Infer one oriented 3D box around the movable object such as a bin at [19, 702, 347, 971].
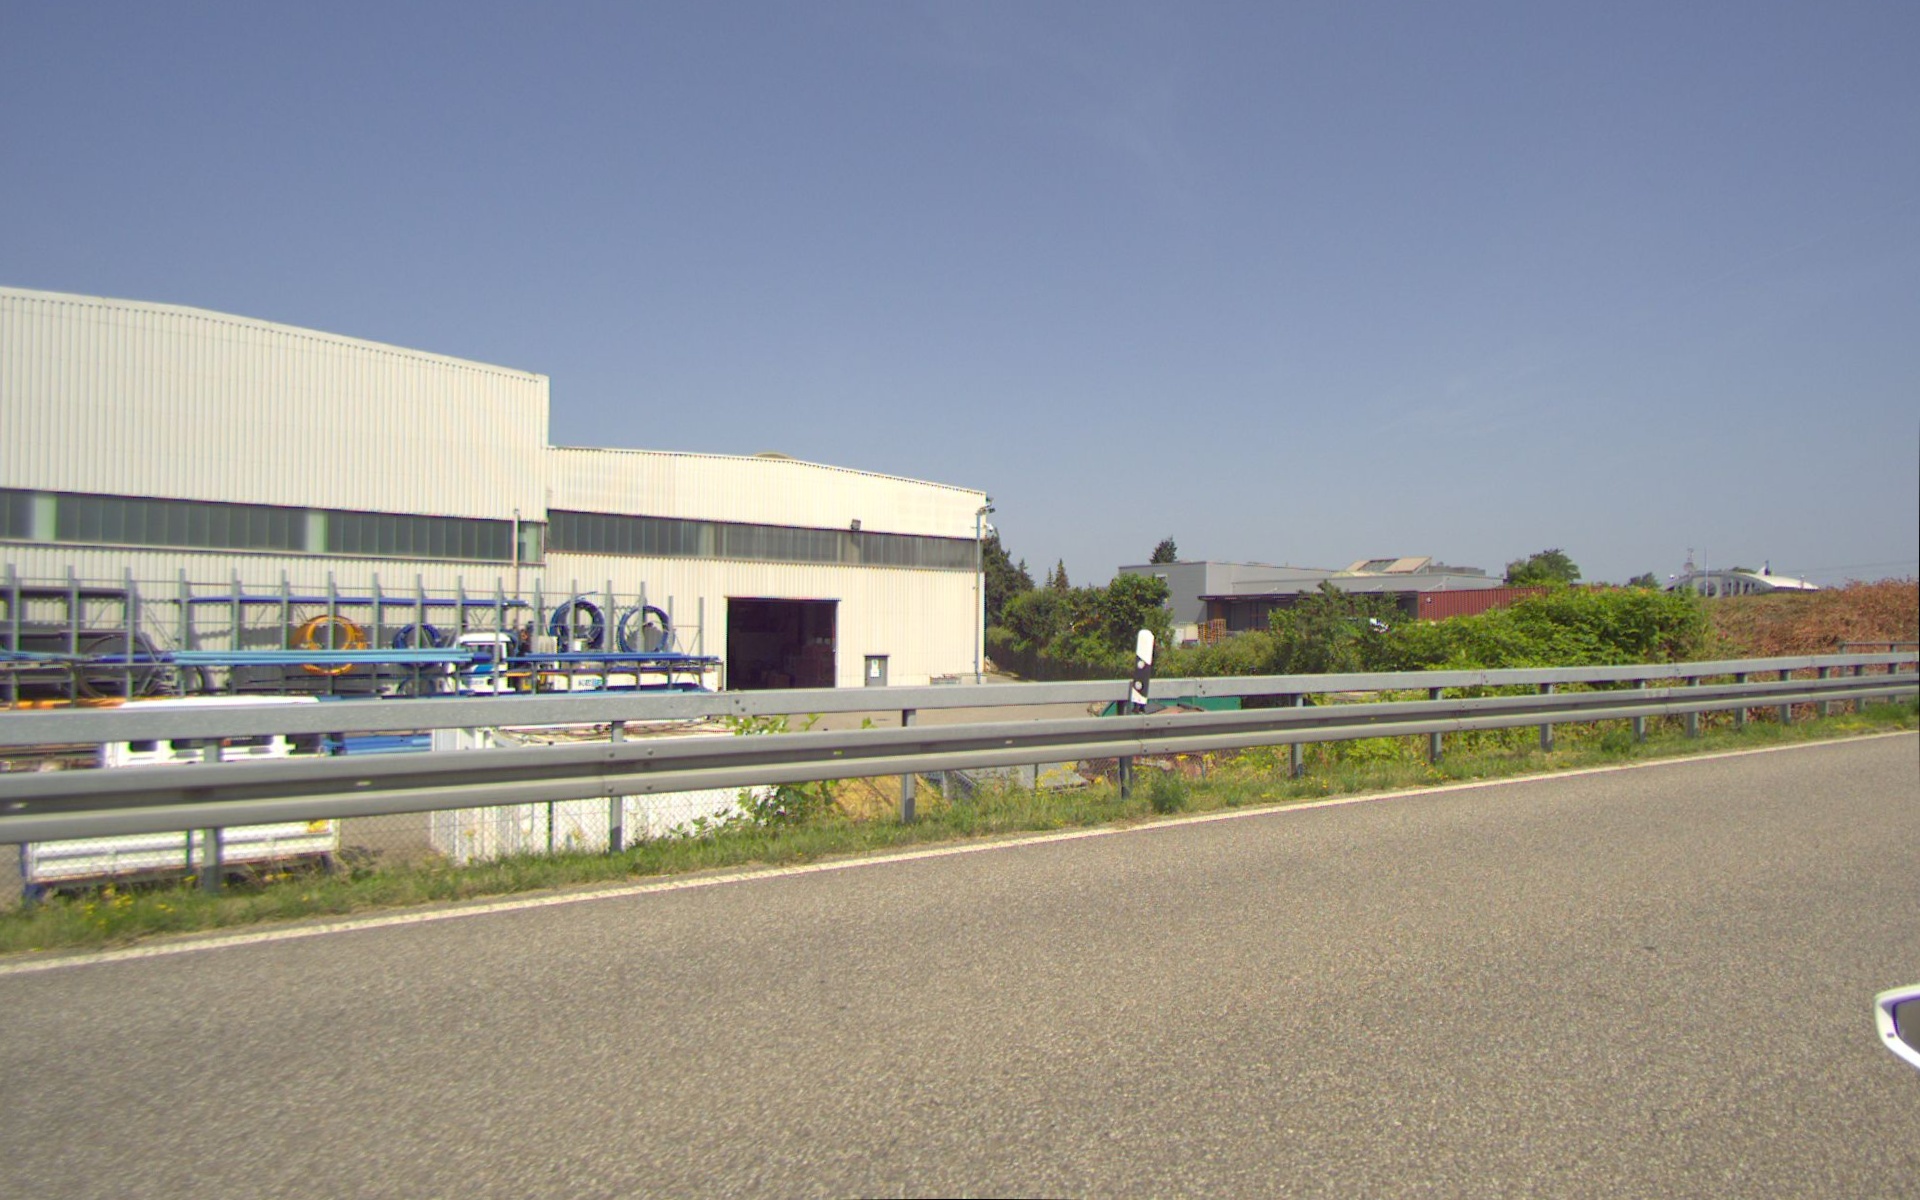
[{"bbox_3d":[-8.876,2.380,11.899,2.425,2.045,5.859,1,-4,-35],"label":"movable object such as a bin"}]
